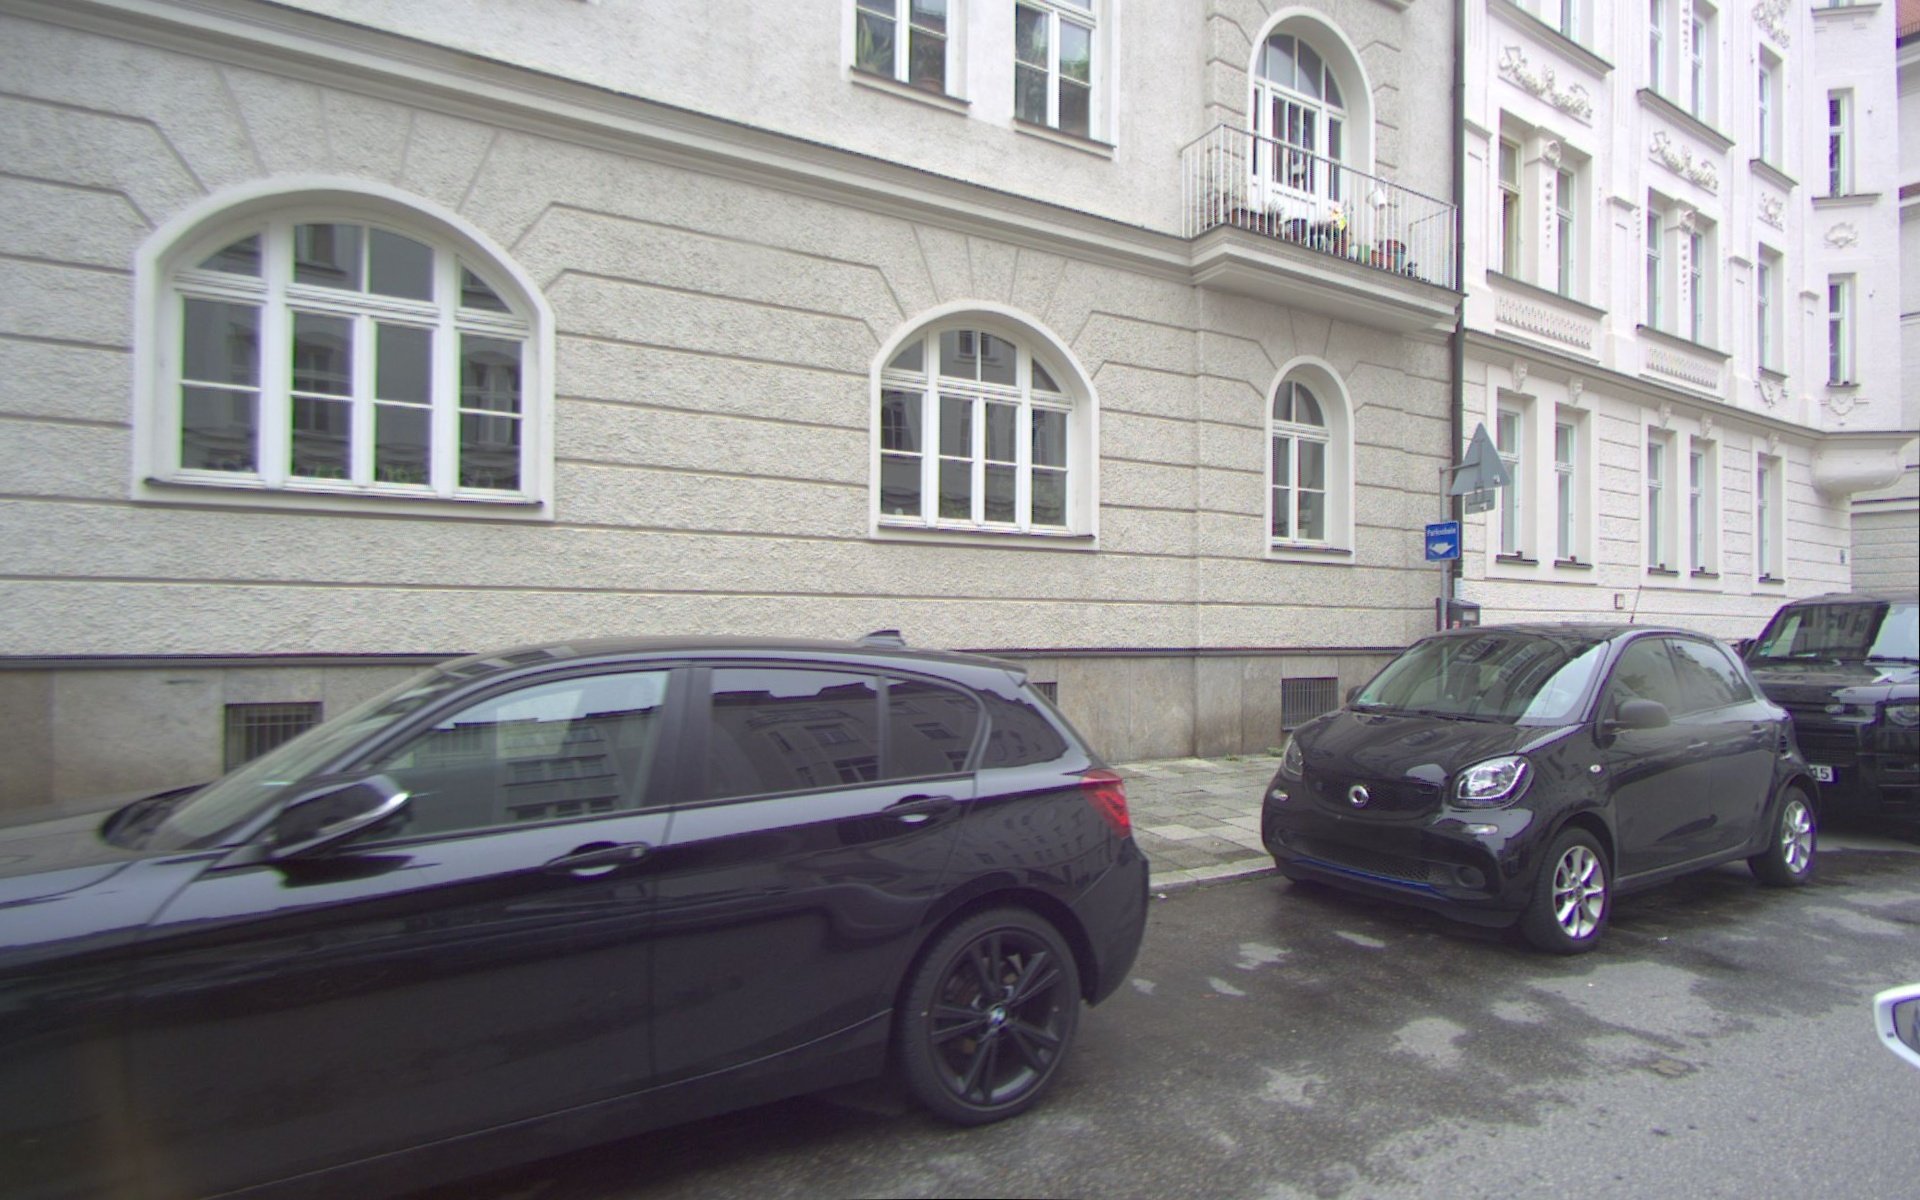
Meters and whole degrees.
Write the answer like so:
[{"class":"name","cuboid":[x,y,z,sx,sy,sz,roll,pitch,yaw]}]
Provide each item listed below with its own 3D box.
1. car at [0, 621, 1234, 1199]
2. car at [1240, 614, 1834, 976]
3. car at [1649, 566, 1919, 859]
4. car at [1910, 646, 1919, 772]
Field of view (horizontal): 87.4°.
[{"class":"car","cuboid":[-1.225,0.800,3.110,4.042,1.425,1.647,1,-2,-30]},{"class":"car","cuboid":[3.465,0.884,5.907,3.493,1.533,1.607,1,-2,-33]},{"class":"car","cuboid":[7.924,0.803,8.432,4.711,1.919,1.826,1,-3,-33]},{"class":"car","cuboid":[13.010,1.224,11.662,4.196,1.412,1.827,1,-3,-31]}]
